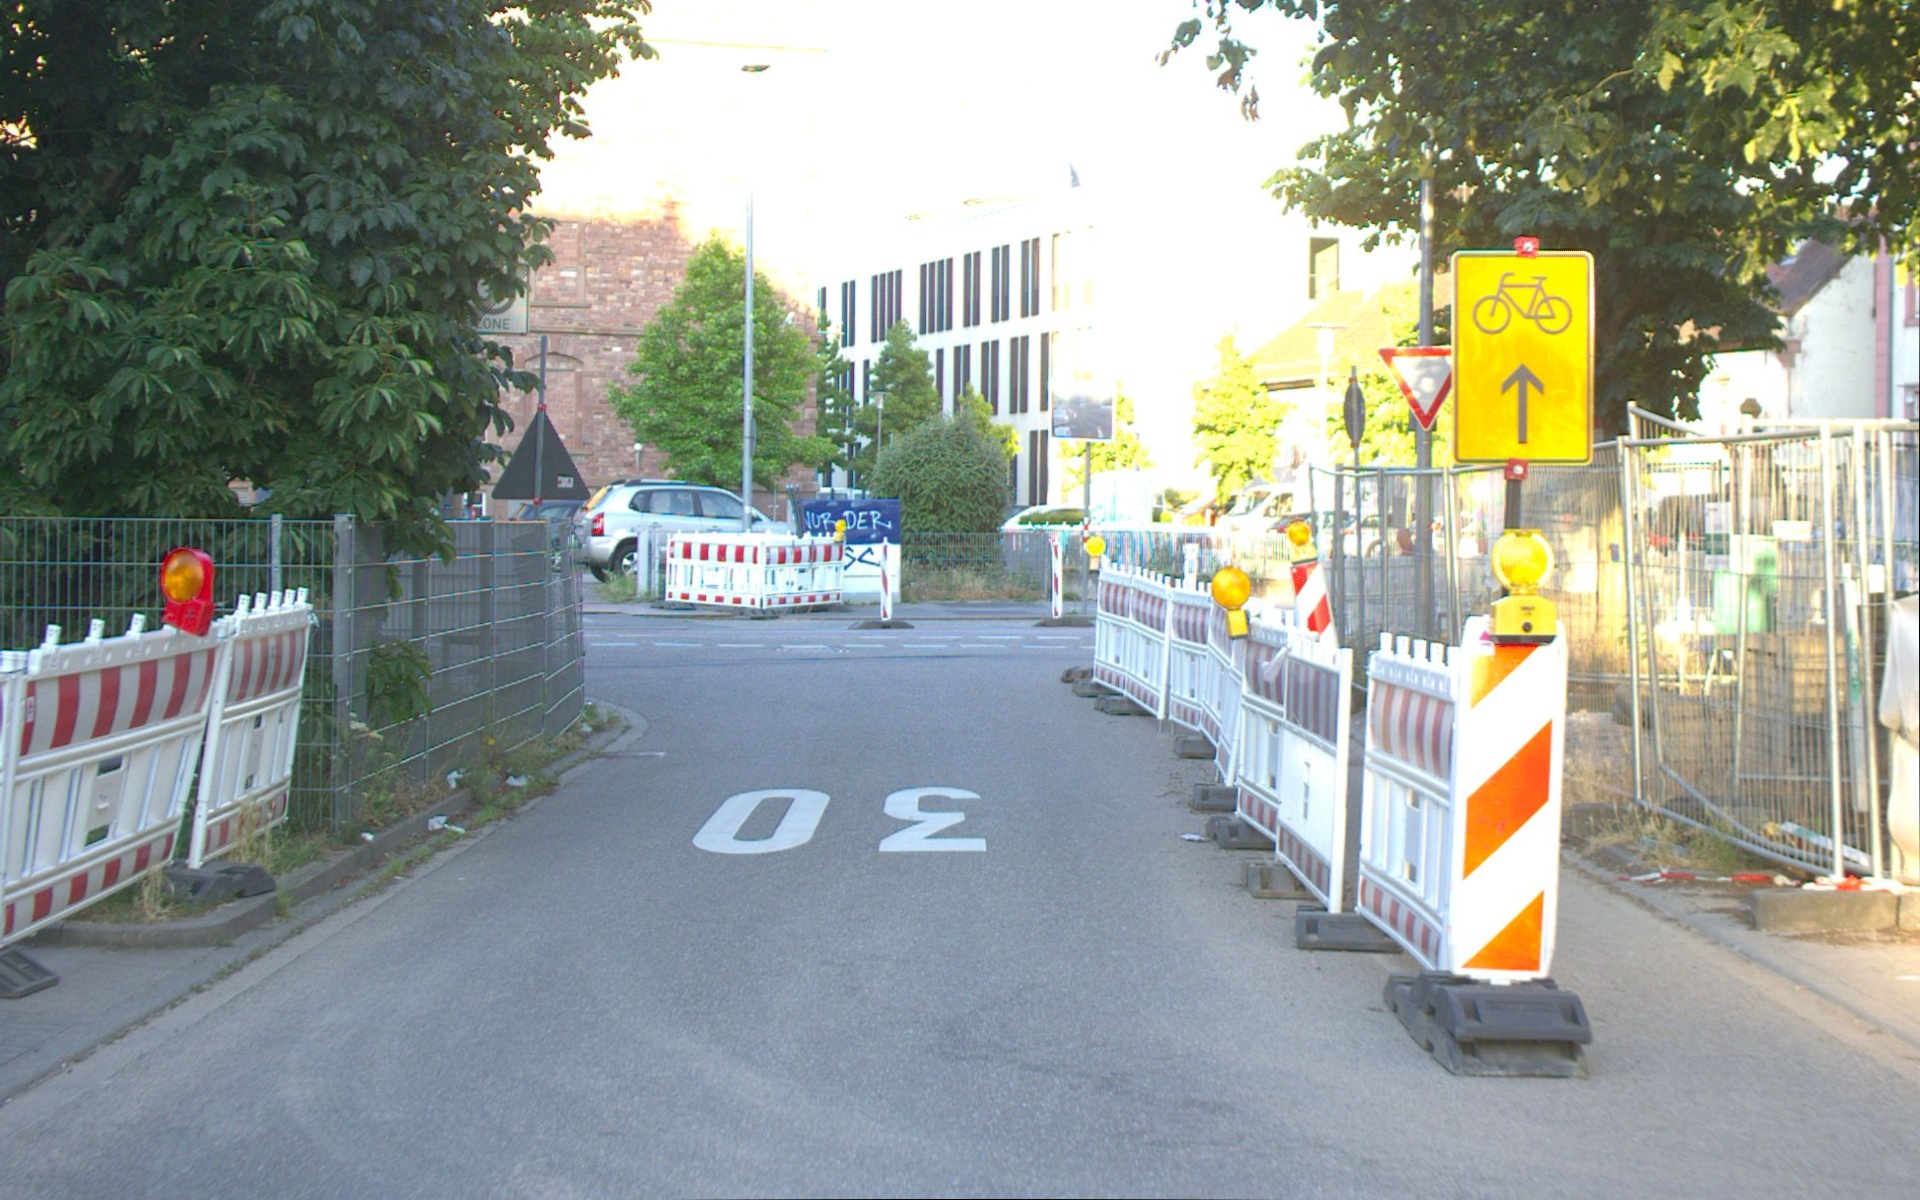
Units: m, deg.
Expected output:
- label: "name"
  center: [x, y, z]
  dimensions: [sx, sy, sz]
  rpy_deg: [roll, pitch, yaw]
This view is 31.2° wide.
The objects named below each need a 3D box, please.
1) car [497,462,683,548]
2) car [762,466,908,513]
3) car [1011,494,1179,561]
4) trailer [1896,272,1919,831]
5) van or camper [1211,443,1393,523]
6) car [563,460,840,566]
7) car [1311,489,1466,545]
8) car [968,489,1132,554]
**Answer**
- label: "car"
  center: [-7.515, -1.923, 69.821]
  dimensions: [3.474, 1.702, 1.669]
  rpy_deg: [0, 2, -18]
- label: "car"
  center: [-3.737, -3.301, 102.824]
  dimensions: [3.986, 1.308, 1.878]
  rpy_deg: [0, 3, -18]
- label: "car"
  center: [3.303, -1.774, 84.181]
  dimensions: [3.739, 1.597, 1.687]
  rpy_deg: [0, 1, -21]
- label: "trailer"
  center: [5.320, -0.153, 13.791]
  dimensions: [1.993, 2.531, 4.186]
  rpy_deg: [1, 2, 1]
- label: "van or camper"
  center: [9.915, -3.382, 99.628]
  dimensions: [4.961, 2.233, 1.687]
  rpy_deg: [0, 1, -21]
- label: "car"
  center: [-4.272, -1.434, 56.824]
  dimensions: [4.268, 1.702, 1.703]
  rpy_deg: [0, 2, -18]
- label: "car"
  center: [11.479, -2.218, 92.034]
  dimensions: [3.739, 1.440, 1.687]
  rpy_deg: [0, 1, -21]
- label: "car"
  center: [2.272, -1.988, 86.931]
  dimensions: [3.739, 1.597, 1.687]
  rpy_deg: [0, 1, -21]
